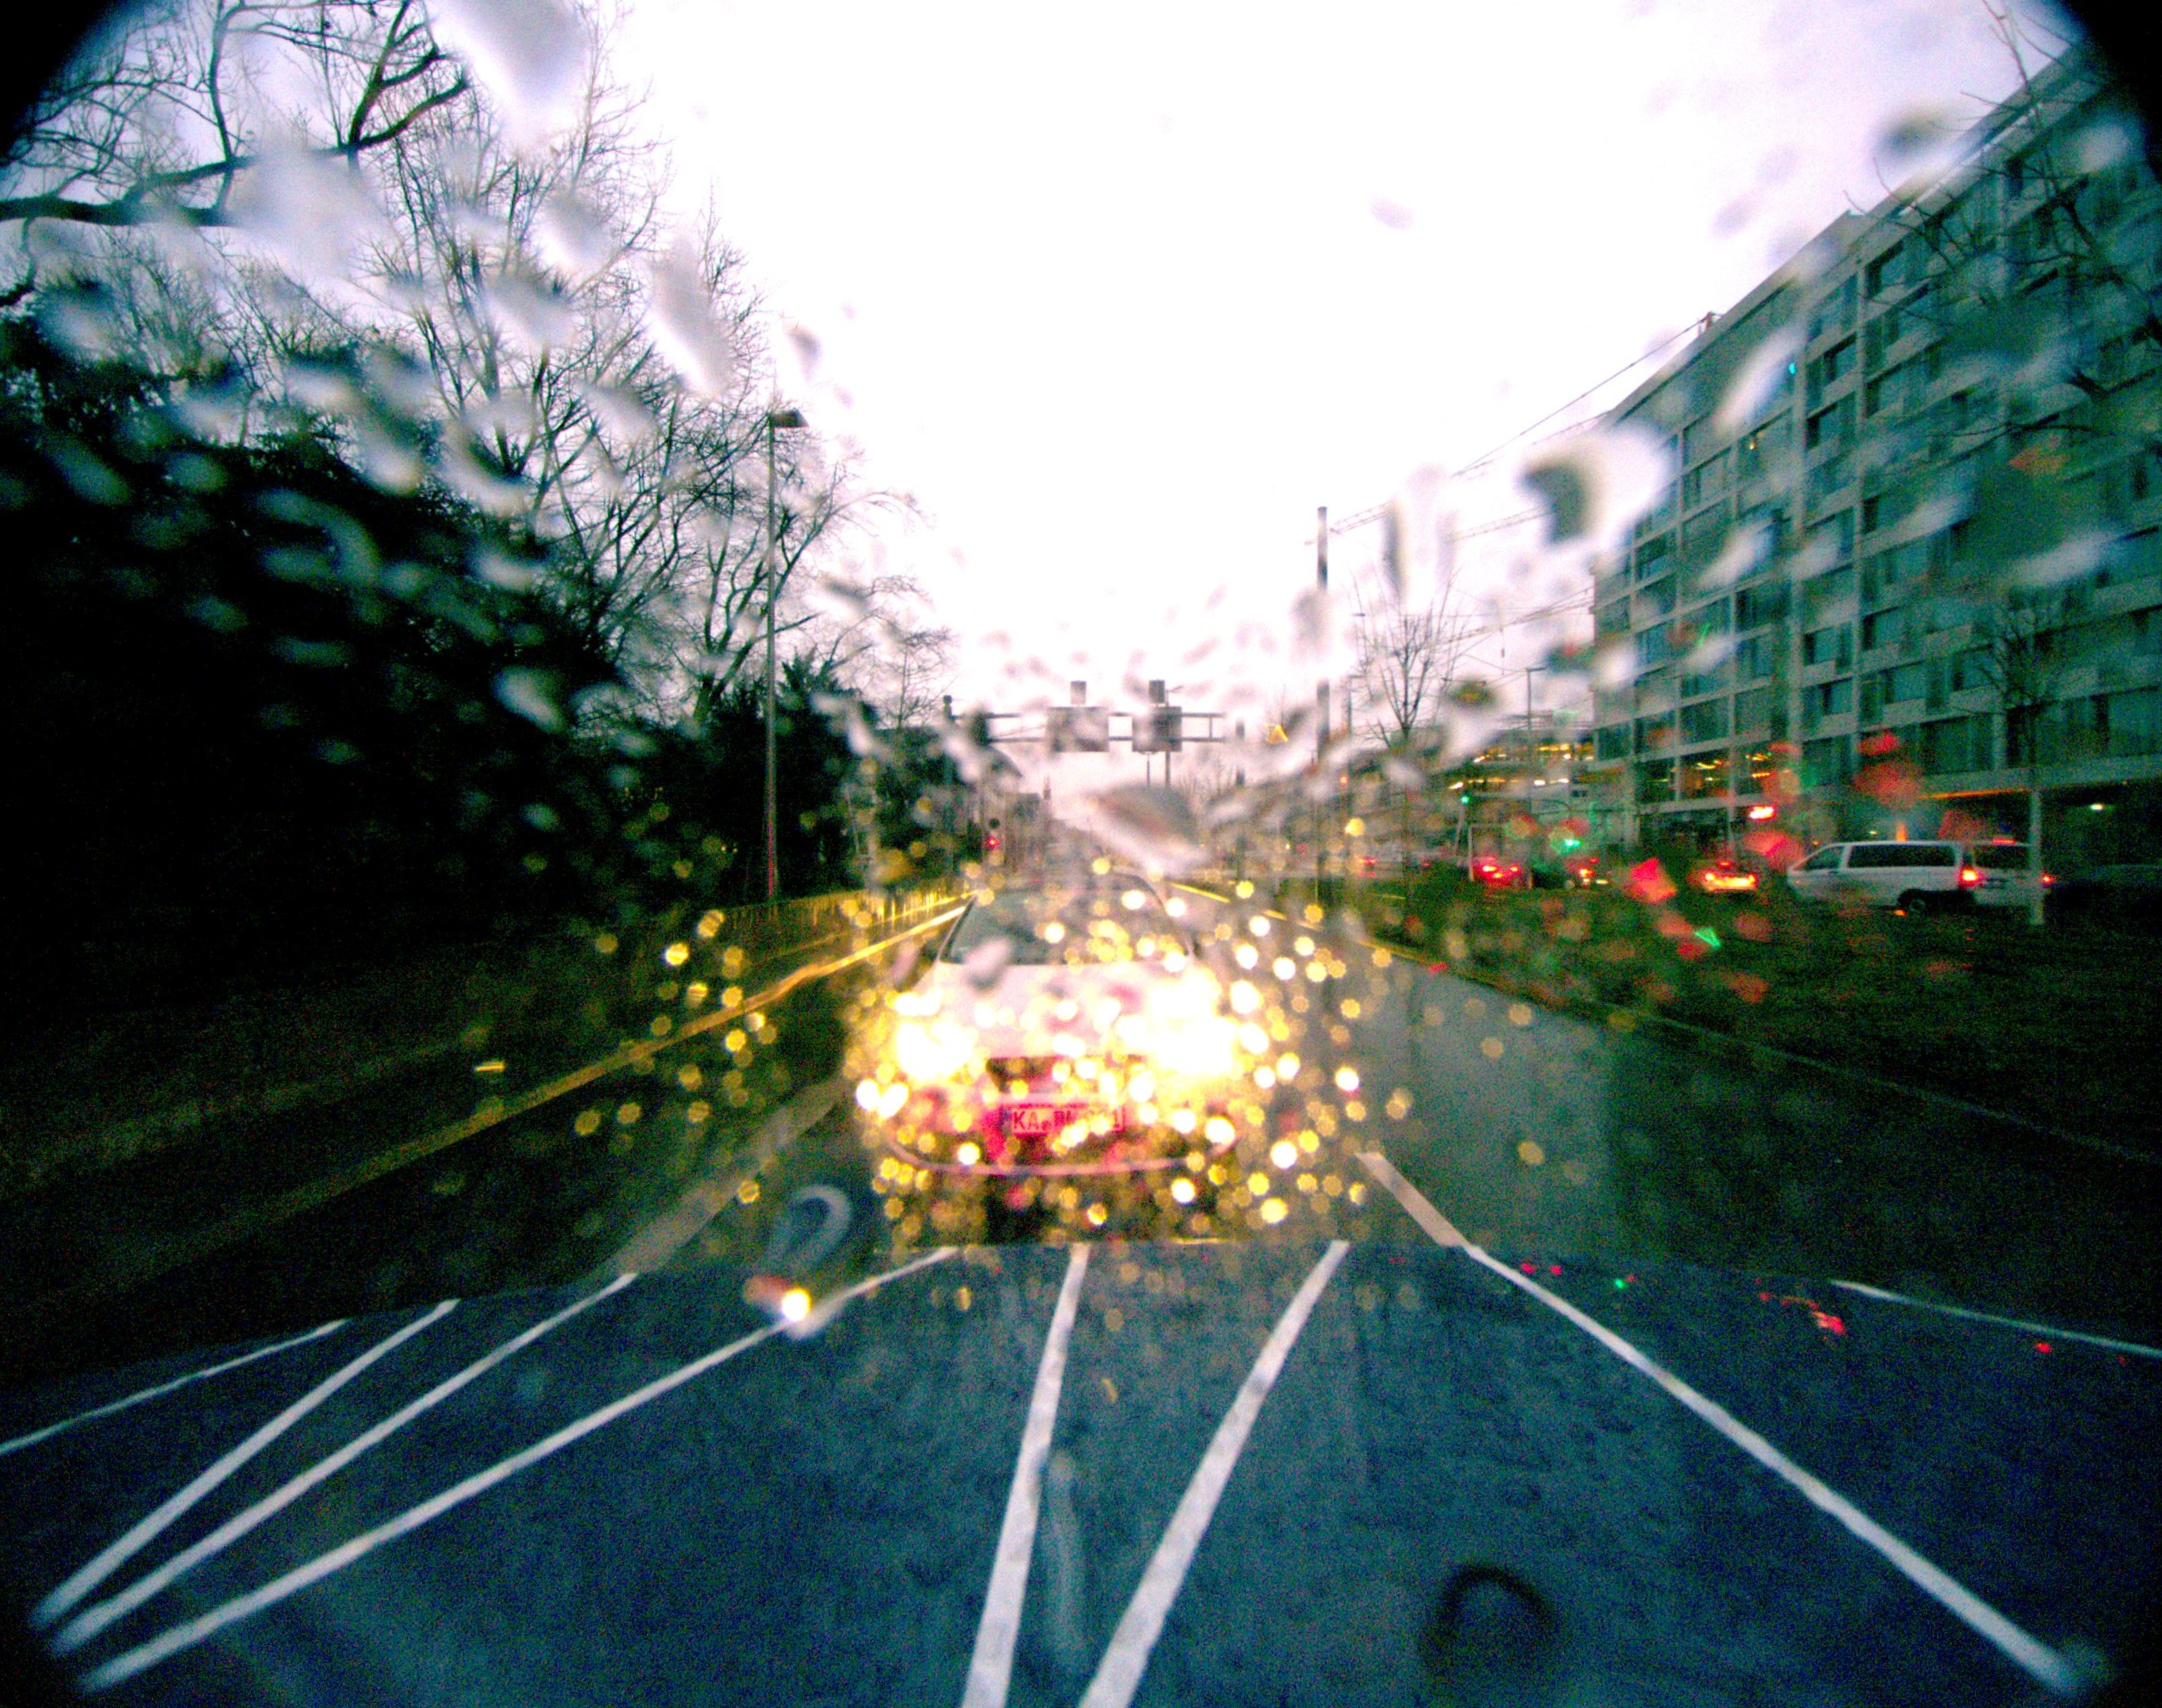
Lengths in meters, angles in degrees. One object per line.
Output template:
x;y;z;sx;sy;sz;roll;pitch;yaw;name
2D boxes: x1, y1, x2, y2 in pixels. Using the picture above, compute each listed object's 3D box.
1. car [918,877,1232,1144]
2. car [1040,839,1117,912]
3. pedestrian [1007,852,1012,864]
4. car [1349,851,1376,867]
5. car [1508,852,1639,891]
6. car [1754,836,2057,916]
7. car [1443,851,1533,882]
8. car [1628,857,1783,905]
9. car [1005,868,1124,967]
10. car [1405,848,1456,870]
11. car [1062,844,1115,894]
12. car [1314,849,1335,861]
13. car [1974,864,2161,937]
-0.035;0.980;6.439;1.798;1.363;3.981;-2;1;0;car
-0.062;0.488;19.935;1.781;1.666;3.981;-2;1;0;car
-9.131;0.537;96.765;0.521;1.501;0.588;0;1;1;pedestrian
30.973;0.510;83.786;1.899;1.709;4.920;0;0;10;car
20.503;0.675;31.899;2.001;1.488;4.444;0;0;-15;car
19.869;0.468;18.784;1.901;1.709;5.117;0;0;0;car
20.508;0.583;38.548;1.998;1.459;5.034;0;0;1;car
20.417;0.835;25.056;1.901;1.423;3.705;0;0;-4;car
-0.246;0.982;13.319;1.728;1.318;3.981;-2;1;0;car
28.179;0.363;61.427;1.900;1.709;4.916;0;0;1;car
0.260;0.504;28.058;1.781;1.666;3.981;-2;1;0;car
35.758;0.100;111.645;1.900;1.709;4.918;0;0;5;car
26.066;1.101;19.089;1.900;1.624;4.580;0;0;1;car
